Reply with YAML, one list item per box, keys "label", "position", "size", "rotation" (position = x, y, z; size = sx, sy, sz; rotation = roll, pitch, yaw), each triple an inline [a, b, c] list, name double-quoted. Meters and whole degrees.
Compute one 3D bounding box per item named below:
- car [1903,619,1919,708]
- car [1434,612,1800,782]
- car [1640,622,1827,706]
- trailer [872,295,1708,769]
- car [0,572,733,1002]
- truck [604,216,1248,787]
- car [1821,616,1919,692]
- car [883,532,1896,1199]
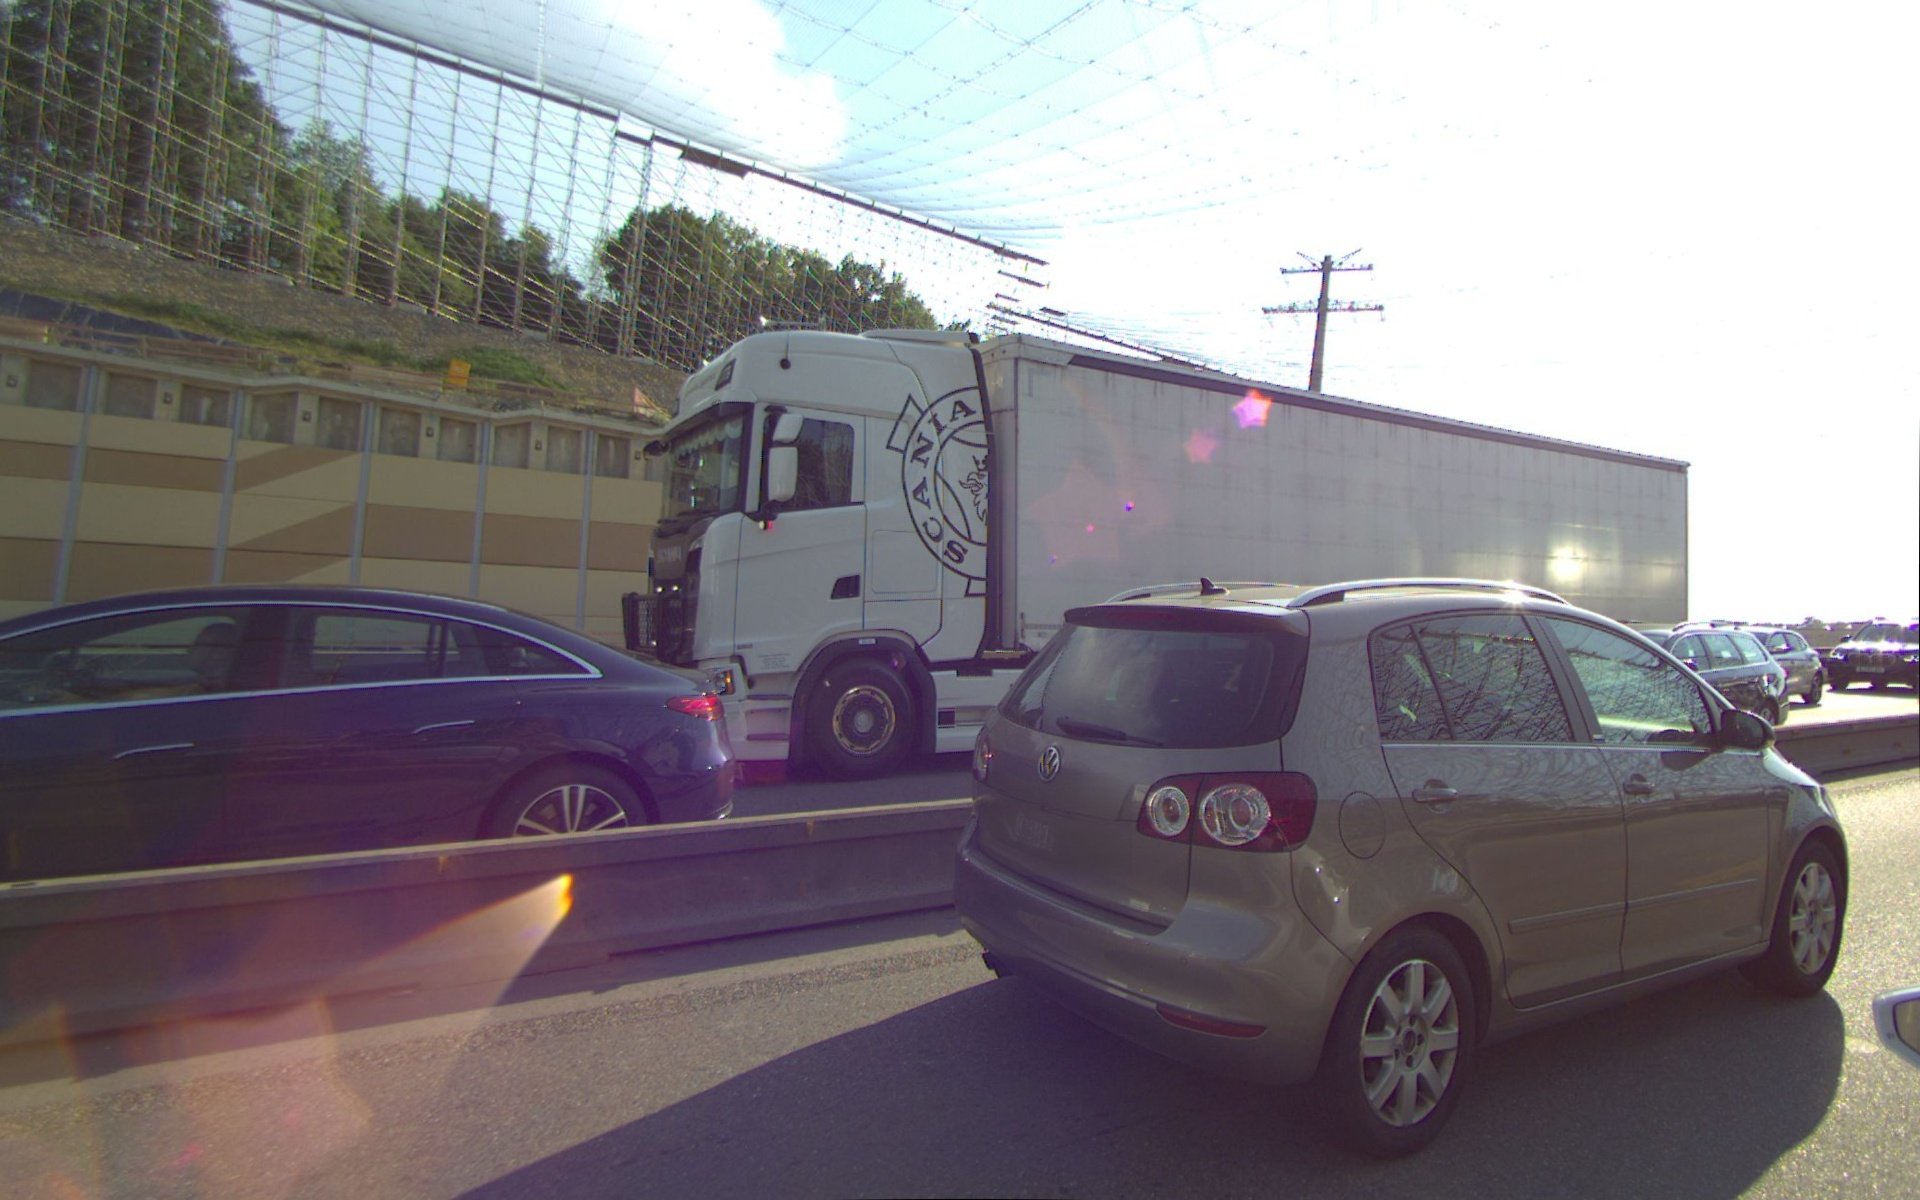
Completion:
- label: "car"
  position: [19.925, 1.248, 19.212]
  size: [3.954, 1.651, 1.687]
  rotation: [2, 1, -31]
- label: "car"
  position: [7.533, 0.984, 11.414]
  size: [4.354, 1.563, 1.733]
  rotation: [2, 1, -31]
- label: "car"
  position: [15.448, 1.233, 20.027]
  size: [3.807, 1.460, 1.657]
  rotation: [2, 1, -31]
- label: "trailer"
  position: [5.578, -0.477, 13.855]
  size: [13.763, 4.290, 2.639]
  rotation: [2, 1, -32]
- label: "car"
  position: [-3.588, 0.659, 4.483]
  size: [4.699, 1.522, 1.775]
  rotation: [2, 1, -31]
- label: "truck"
  position: [-0.184, -0.656, 10.282]
  size: [6.037, 4.286, 2.648]
  rotation: [2, -1, -32]
- label: "car"
  position: [23.273, 1.300, 25.108]
  size: [3.959, 1.706, 1.668]
  rotation: [1, 1, -35]
- label: "car"
  position: [1.890, 0.704, 4.035]
  size: [4.052, 1.595, 1.675]
  rotation: [2, -1, -31]
